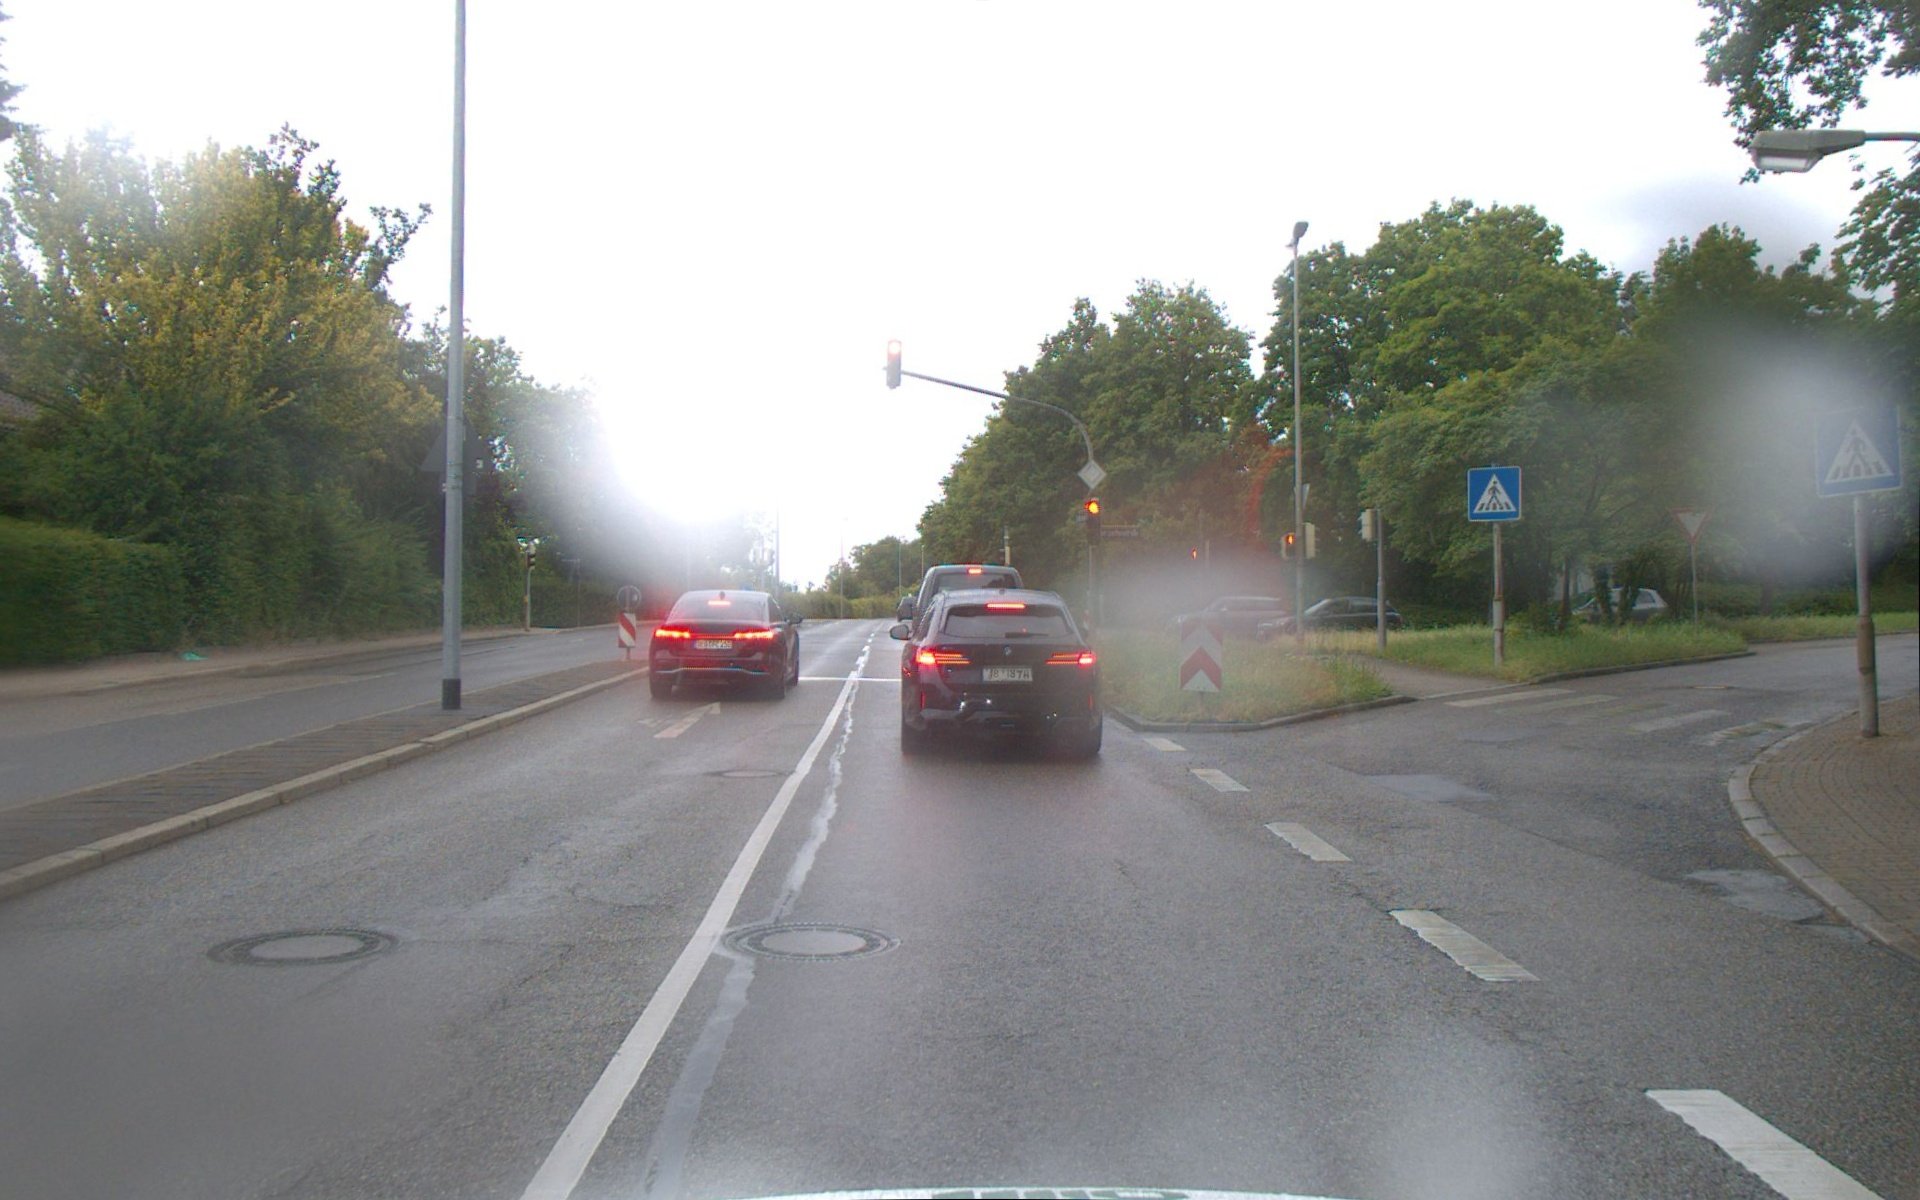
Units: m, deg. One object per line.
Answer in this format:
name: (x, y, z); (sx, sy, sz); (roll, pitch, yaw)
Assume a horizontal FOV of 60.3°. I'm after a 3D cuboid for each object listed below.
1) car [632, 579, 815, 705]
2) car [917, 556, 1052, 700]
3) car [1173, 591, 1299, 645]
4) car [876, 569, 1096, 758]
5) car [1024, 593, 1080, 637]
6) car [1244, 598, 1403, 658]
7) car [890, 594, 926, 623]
car: (-3.215, 0.542, 23.340); (1.953, 1.554, 4.327); (-2, 0, -1)
car: (0.306, 0.380, 24.044); (1.781, 1.901, 3.952); (1, 0, -1)
car: (8.317, 0.562, 50.044); (3.433, 1.452, 1.701); (-2, -2, -4)
car: (0.315, 0.564, 16.425); (1.859, 1.578, 4.616); (1, -1, 2)
car: (3.465, 0.572, 63.164); (1.835, 1.569, 3.952); (-2, 0, -1)
car: (10.124, 0.755, 46.157); (3.912, 1.535, 1.898); (-1, 0, -8)
car: (-3.047, 0.493, 97.334); (1.953, 1.652, 3.952); (-2, 0, -1)
